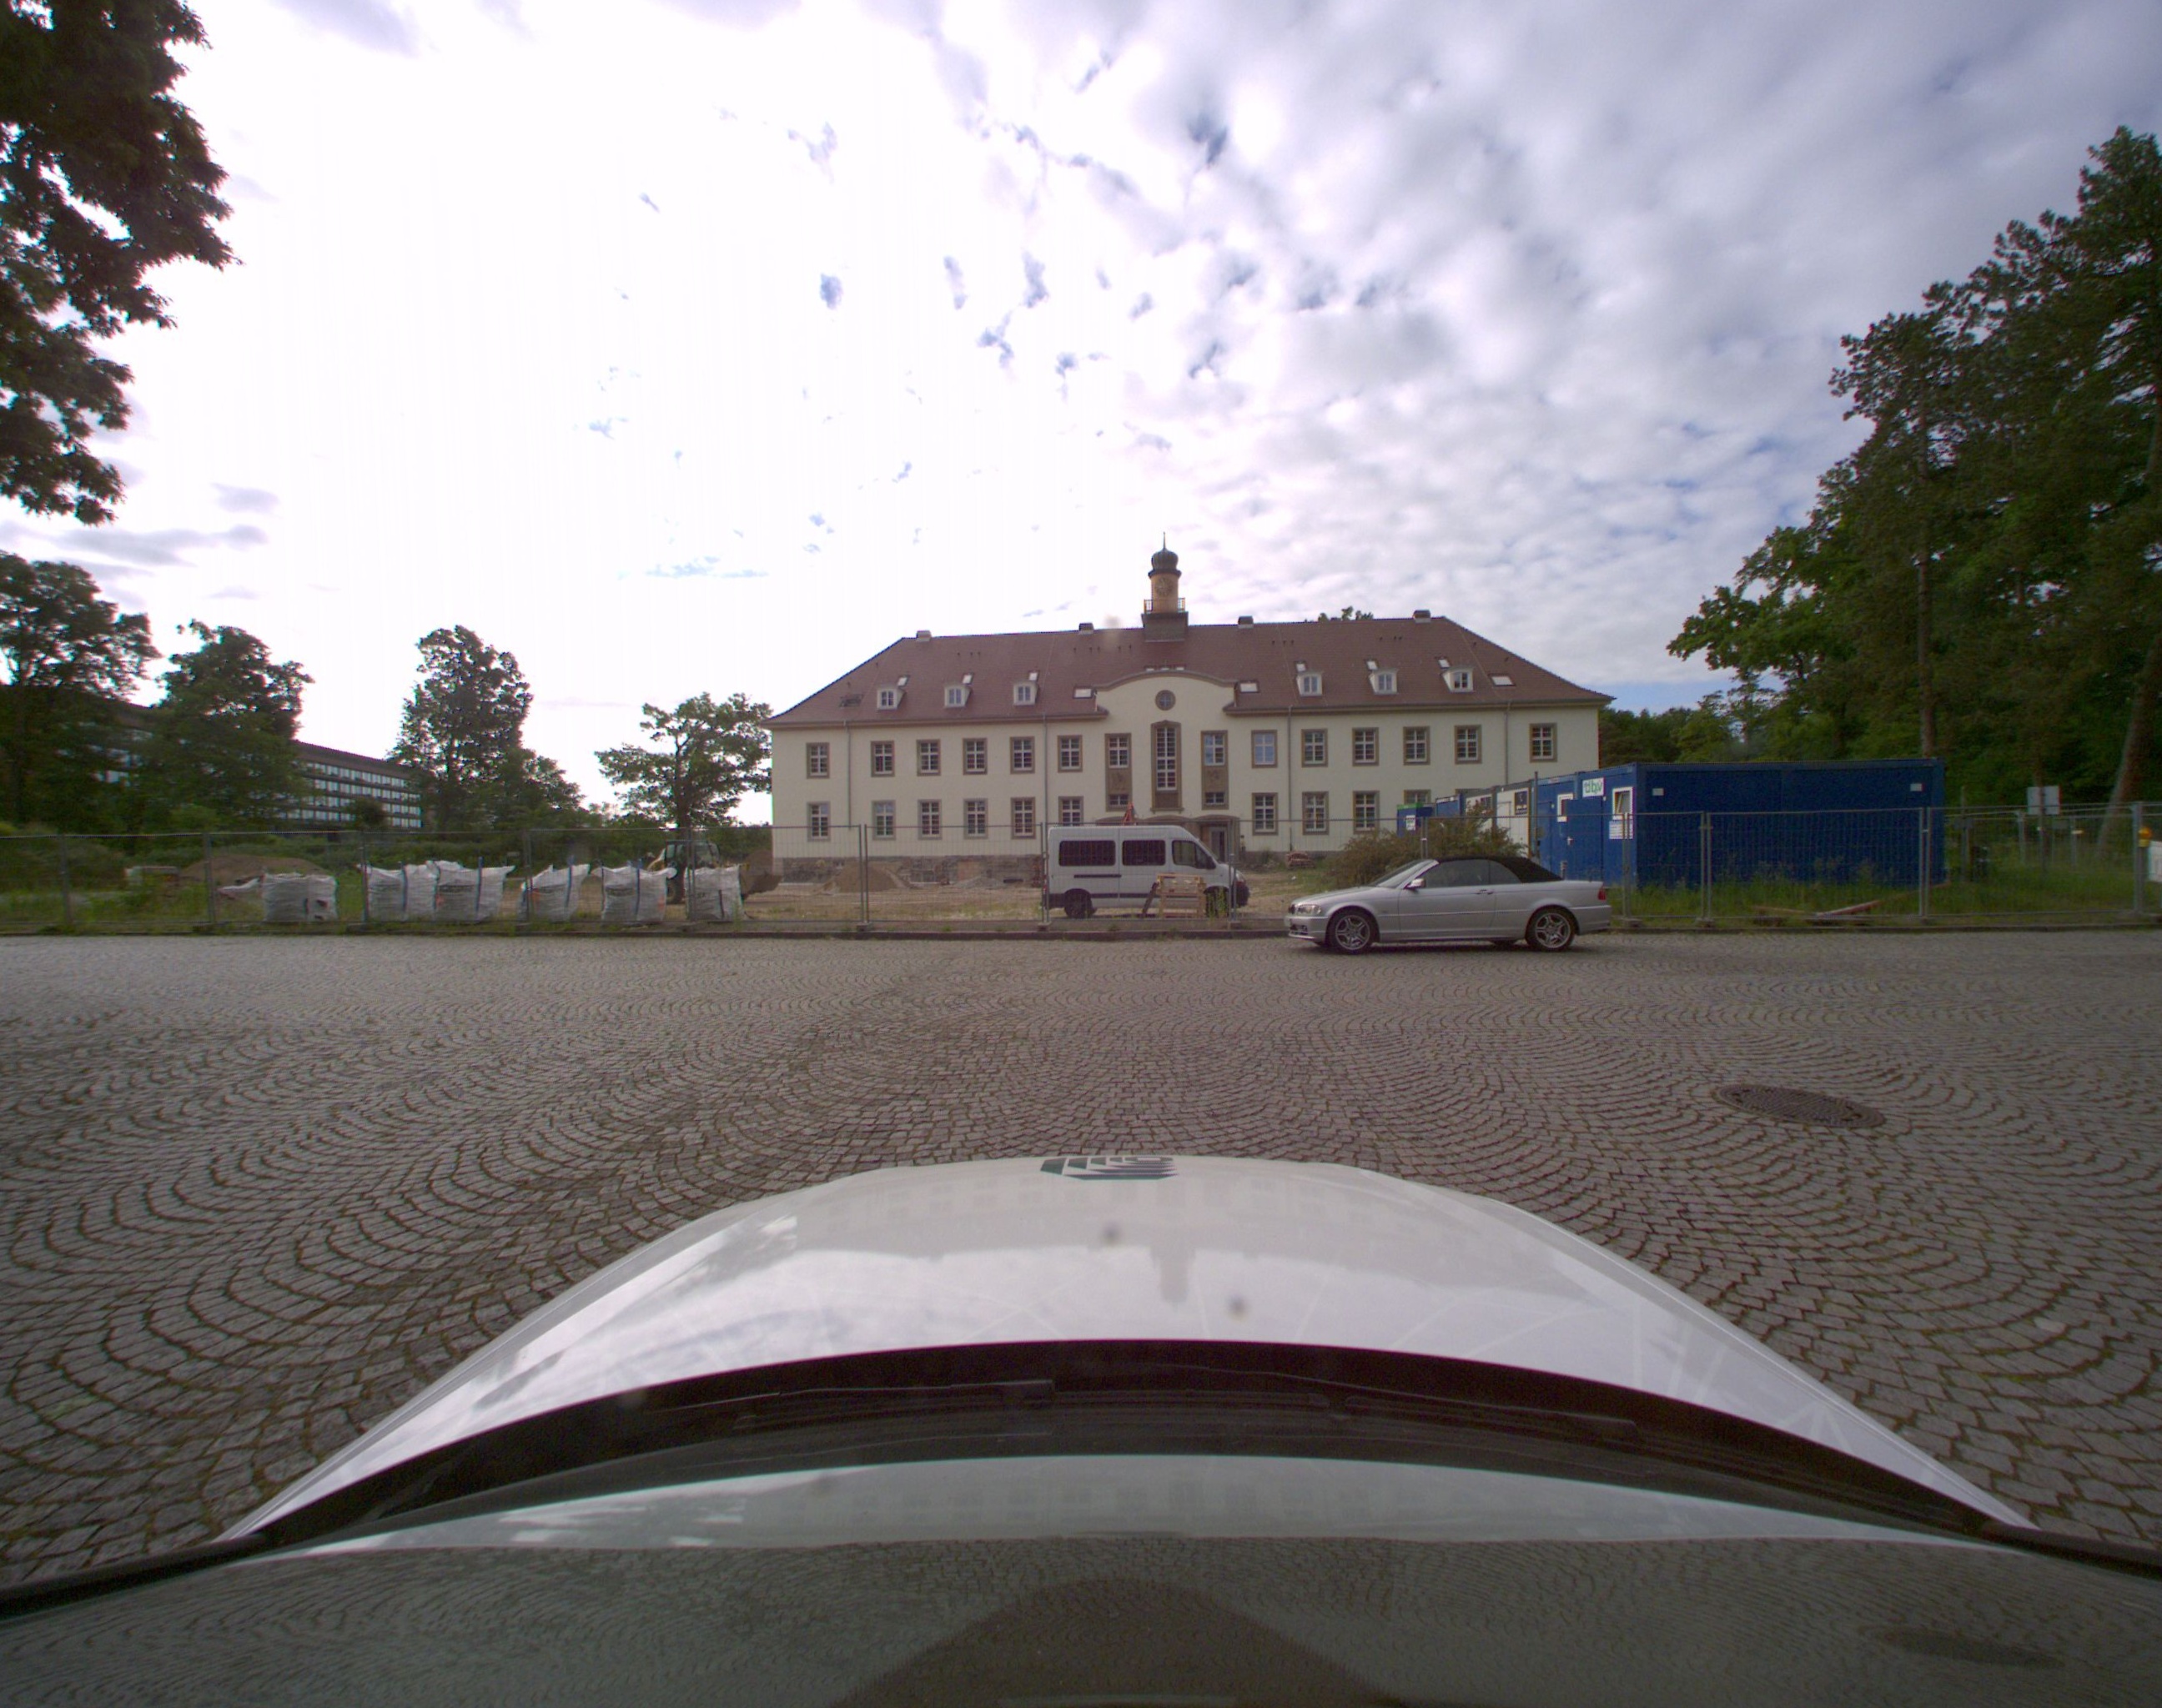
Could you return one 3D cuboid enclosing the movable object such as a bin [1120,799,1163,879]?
[{"bbox_3d":[2.983,-0.699,41.273,1.985,3.771,5.321,-1,0,3],"label":"movable object such as a bin"}]

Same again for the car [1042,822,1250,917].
[{"bbox_3d":[1.733,0.408,21.602,5.234,2.344,1.914,-1,0,7],"label":"car"}]

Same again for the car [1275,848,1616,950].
[{"bbox_3d":[5.151,0.667,11.951,4.262,1.346,1.608,-1,-4,3],"label":"car"}]

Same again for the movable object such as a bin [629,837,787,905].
[{"bbox_3d":[-14.704,0.646,32.249,5.305,2.556,2.002,-1,0,4],"label":"movable object such as a bin"}]
